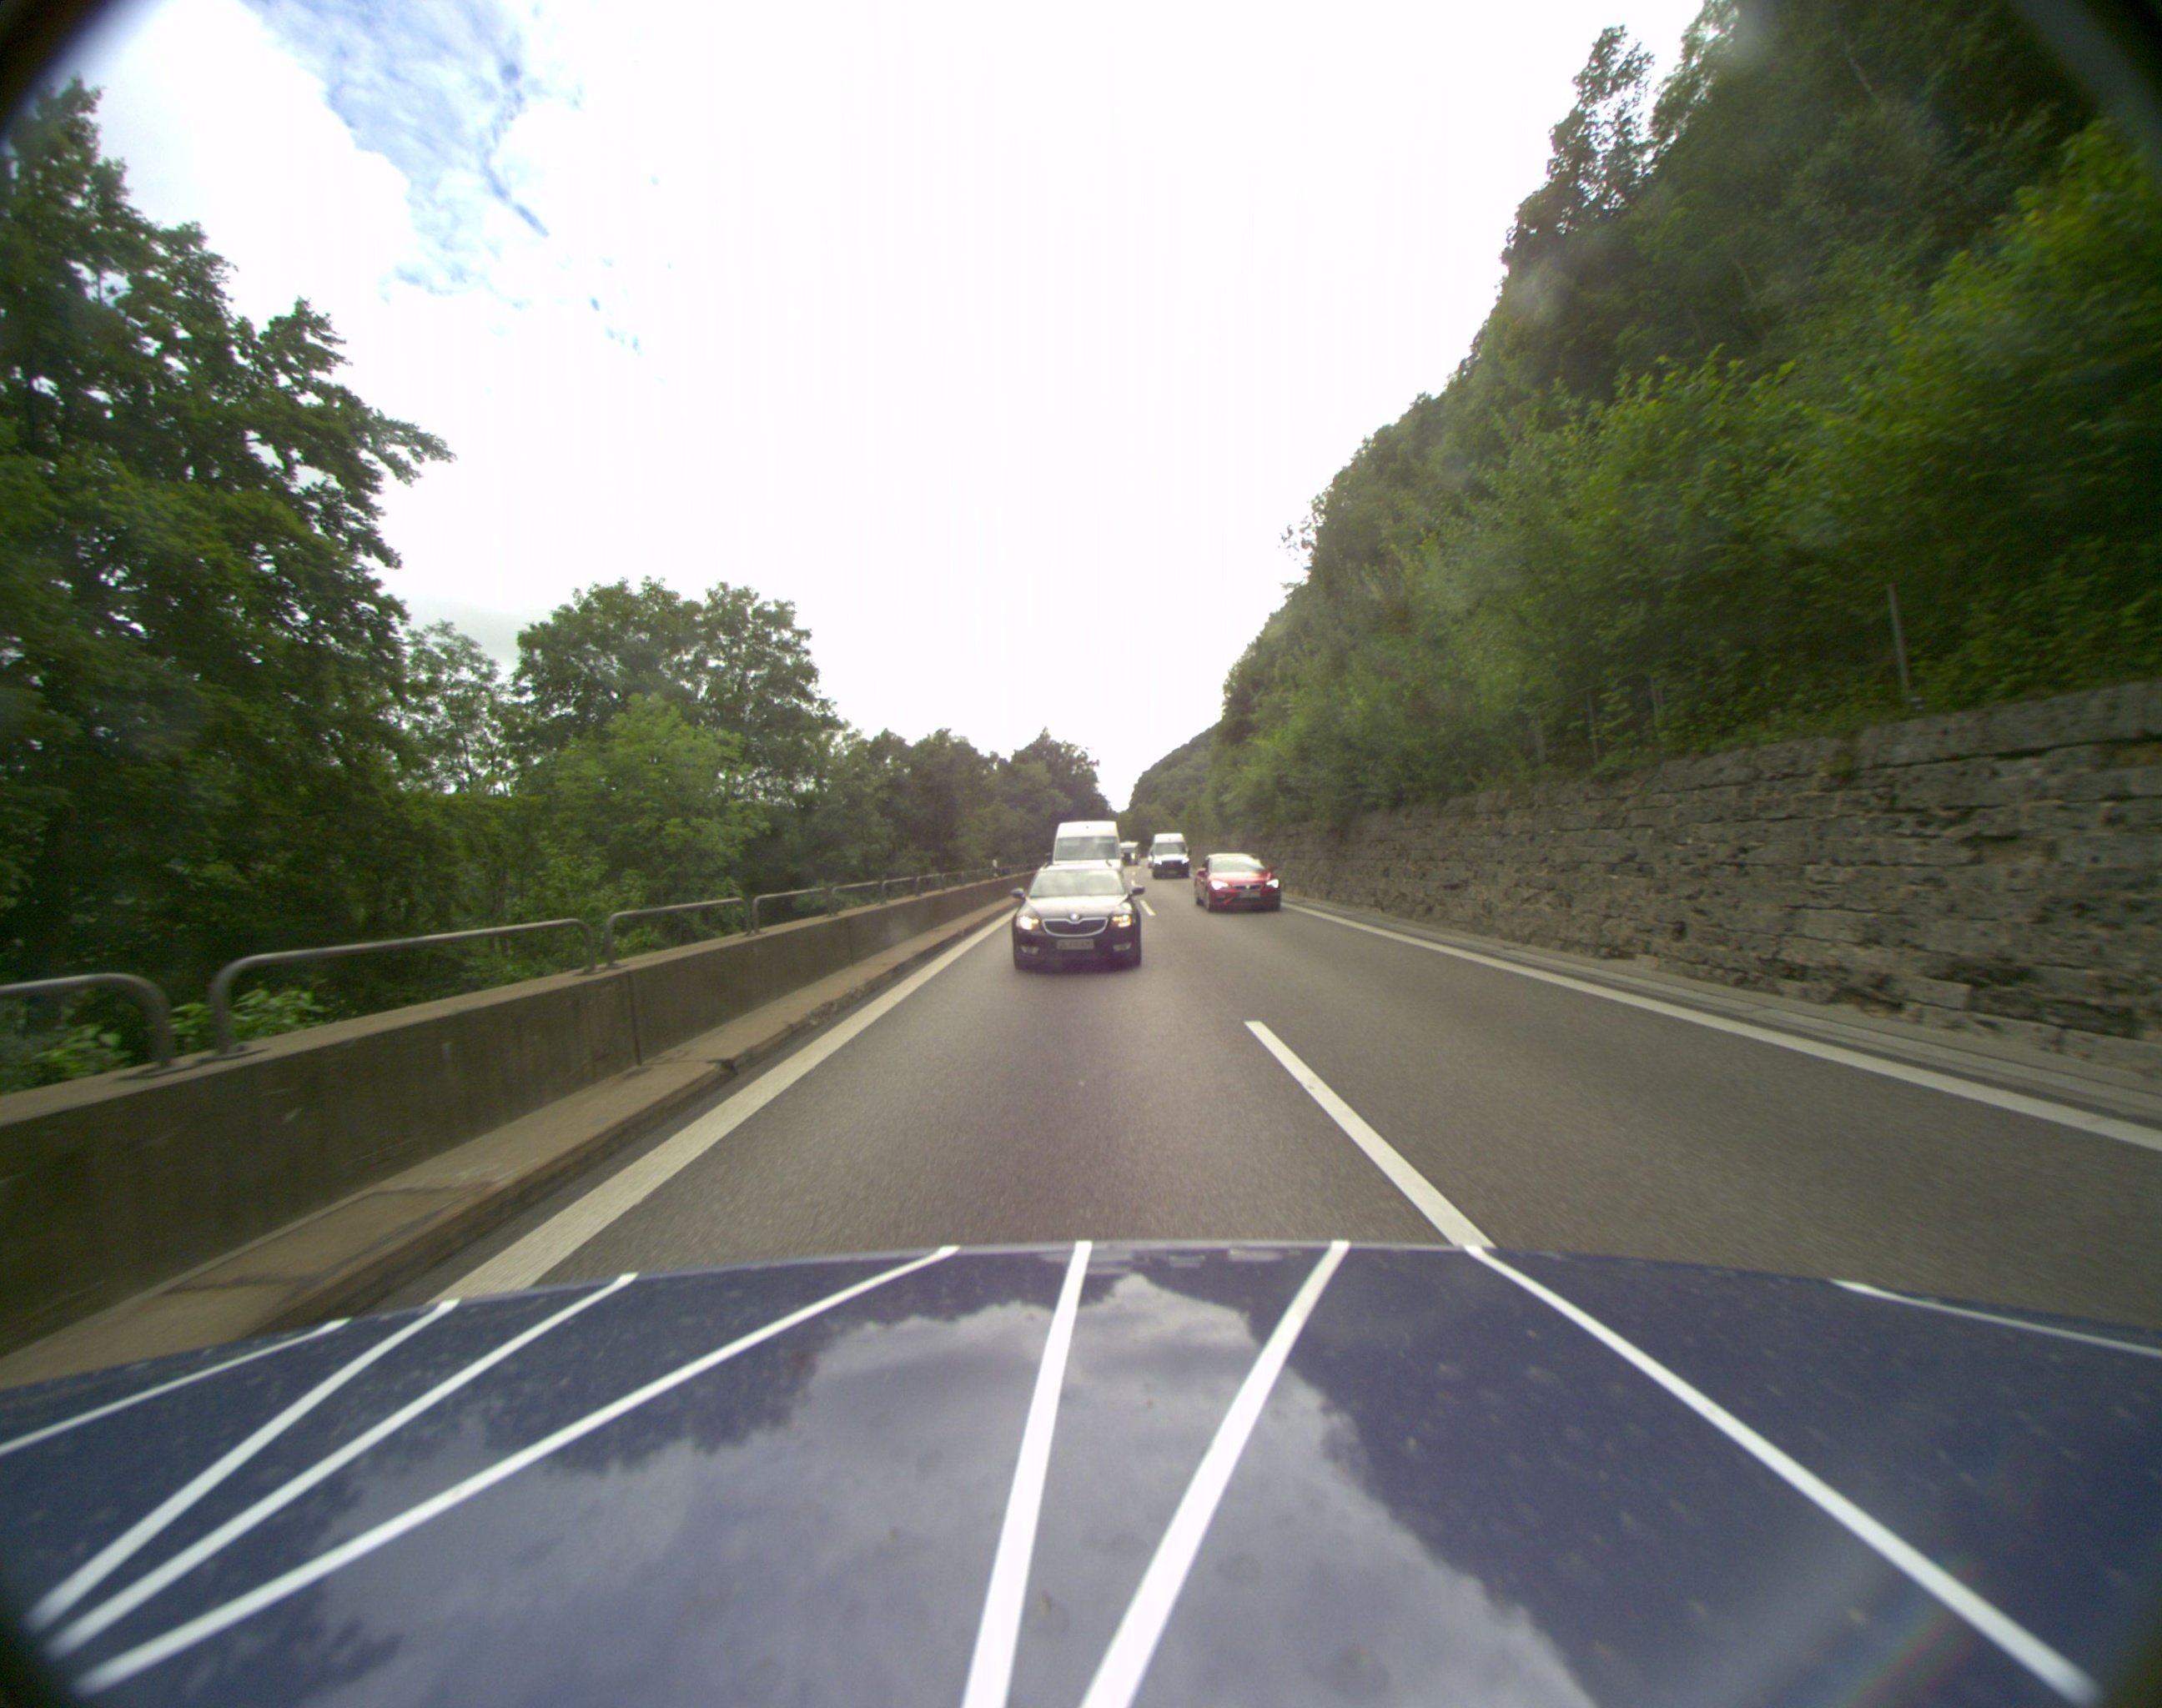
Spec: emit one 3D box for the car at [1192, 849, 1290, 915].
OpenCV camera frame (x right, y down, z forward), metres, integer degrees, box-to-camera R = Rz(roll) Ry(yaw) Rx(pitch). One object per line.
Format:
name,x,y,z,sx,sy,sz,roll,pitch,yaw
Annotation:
car,4.032,0.643,19.873,1.770,1.451,4.411,-2,1,3

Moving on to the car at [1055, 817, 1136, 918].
car,0.278,0.326,22.625,1.999,2.550,5.916,-2,1,-2

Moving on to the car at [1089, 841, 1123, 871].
car,1.805,0.101,53.714,1.998,1.871,4.001,-3,1,6

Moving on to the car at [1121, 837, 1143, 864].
car,5.971,-0.462,88.432,2.276,2.941,7.188,-2,1,5

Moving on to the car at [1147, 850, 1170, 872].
car,7.489,0.642,73.153,1.998,1.941,6.150,-4,0,6

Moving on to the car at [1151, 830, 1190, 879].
car,5.201,-0.019,44.624,2.030,2.570,6.276,-2,1,6

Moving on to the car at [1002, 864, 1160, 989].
car,-0.195,0.932,12.321,1.914,1.391,5.694,-3,0,-4
